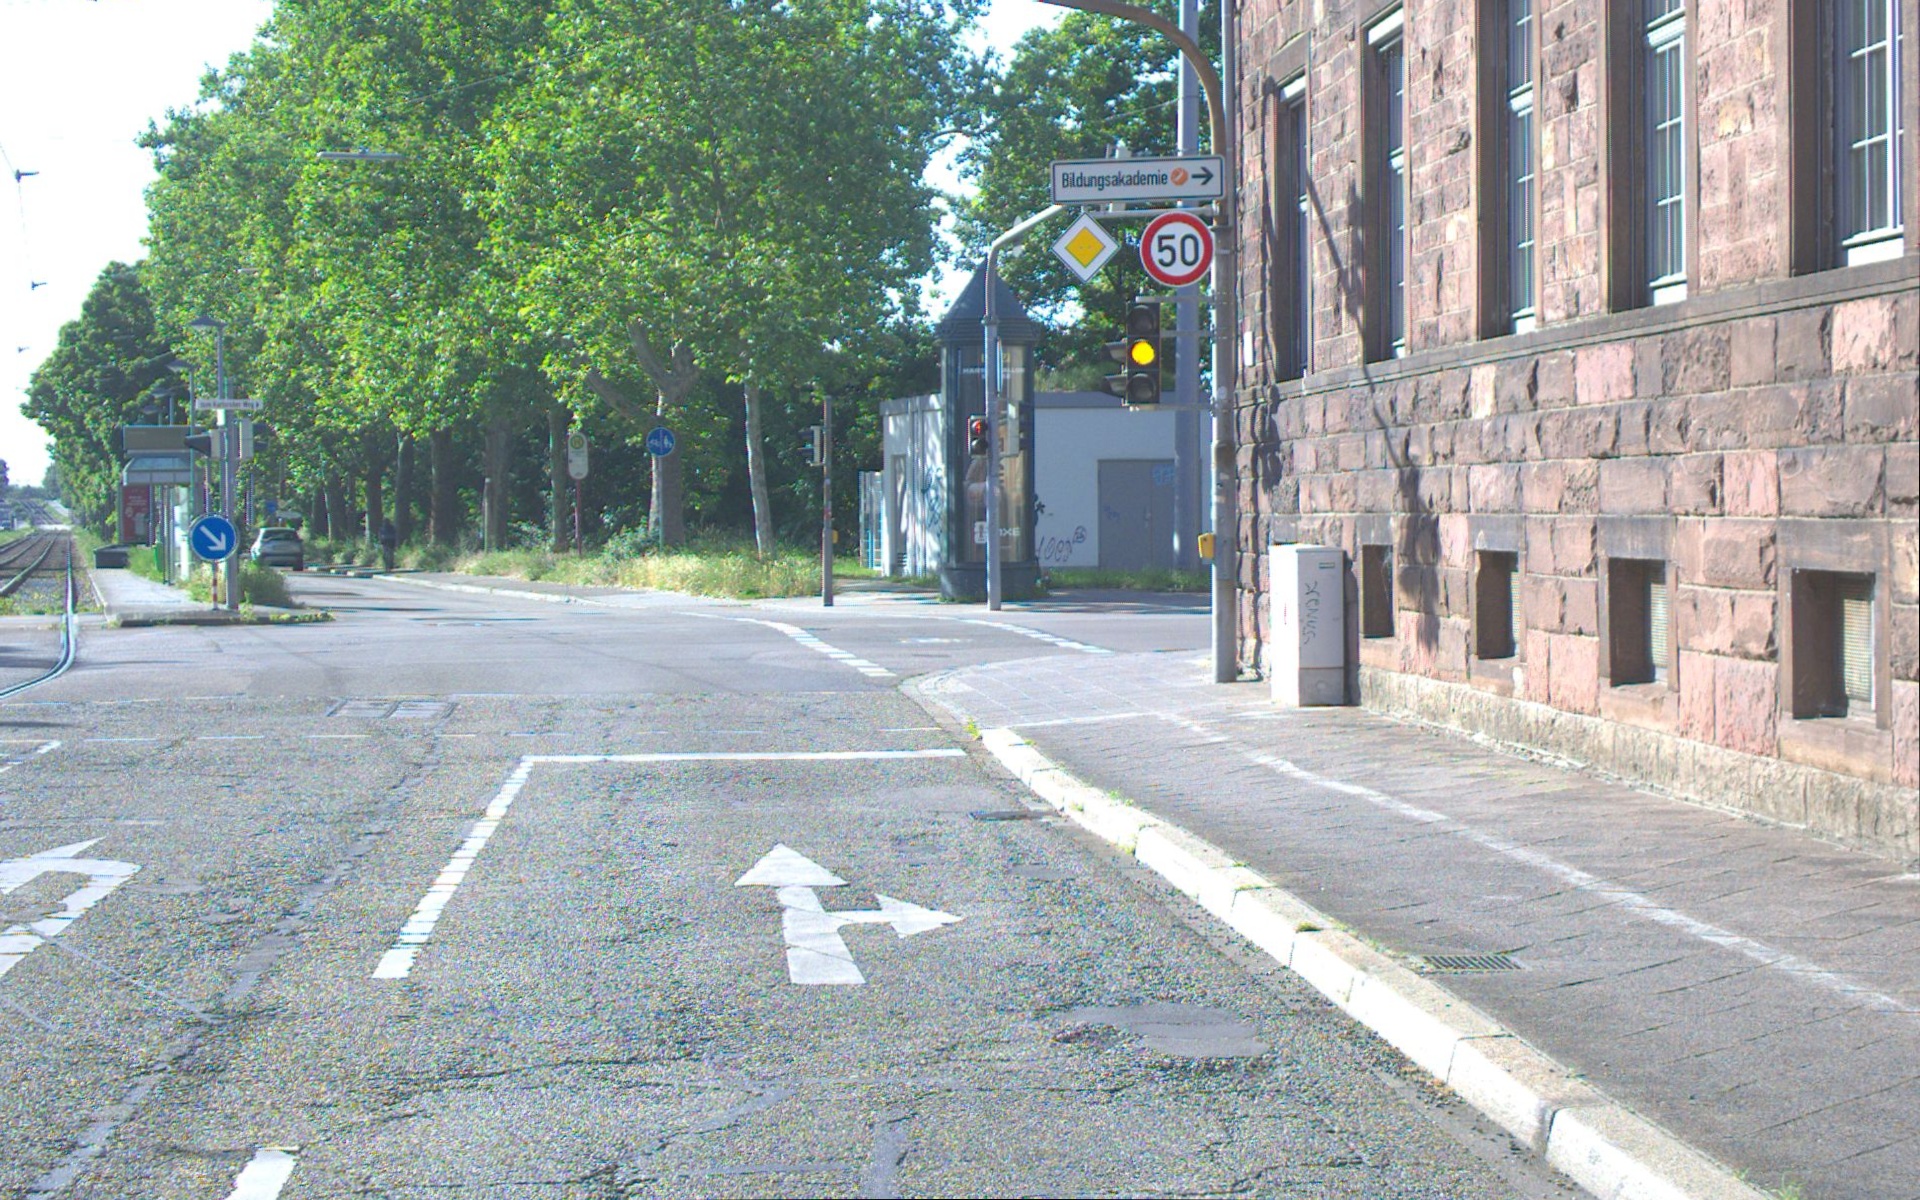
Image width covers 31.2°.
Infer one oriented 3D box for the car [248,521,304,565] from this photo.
[{"bbox_3d":[-25.116,-2.110,126.323,1.942,1.605,4.001,0,1,-10],"label":"car"}]
